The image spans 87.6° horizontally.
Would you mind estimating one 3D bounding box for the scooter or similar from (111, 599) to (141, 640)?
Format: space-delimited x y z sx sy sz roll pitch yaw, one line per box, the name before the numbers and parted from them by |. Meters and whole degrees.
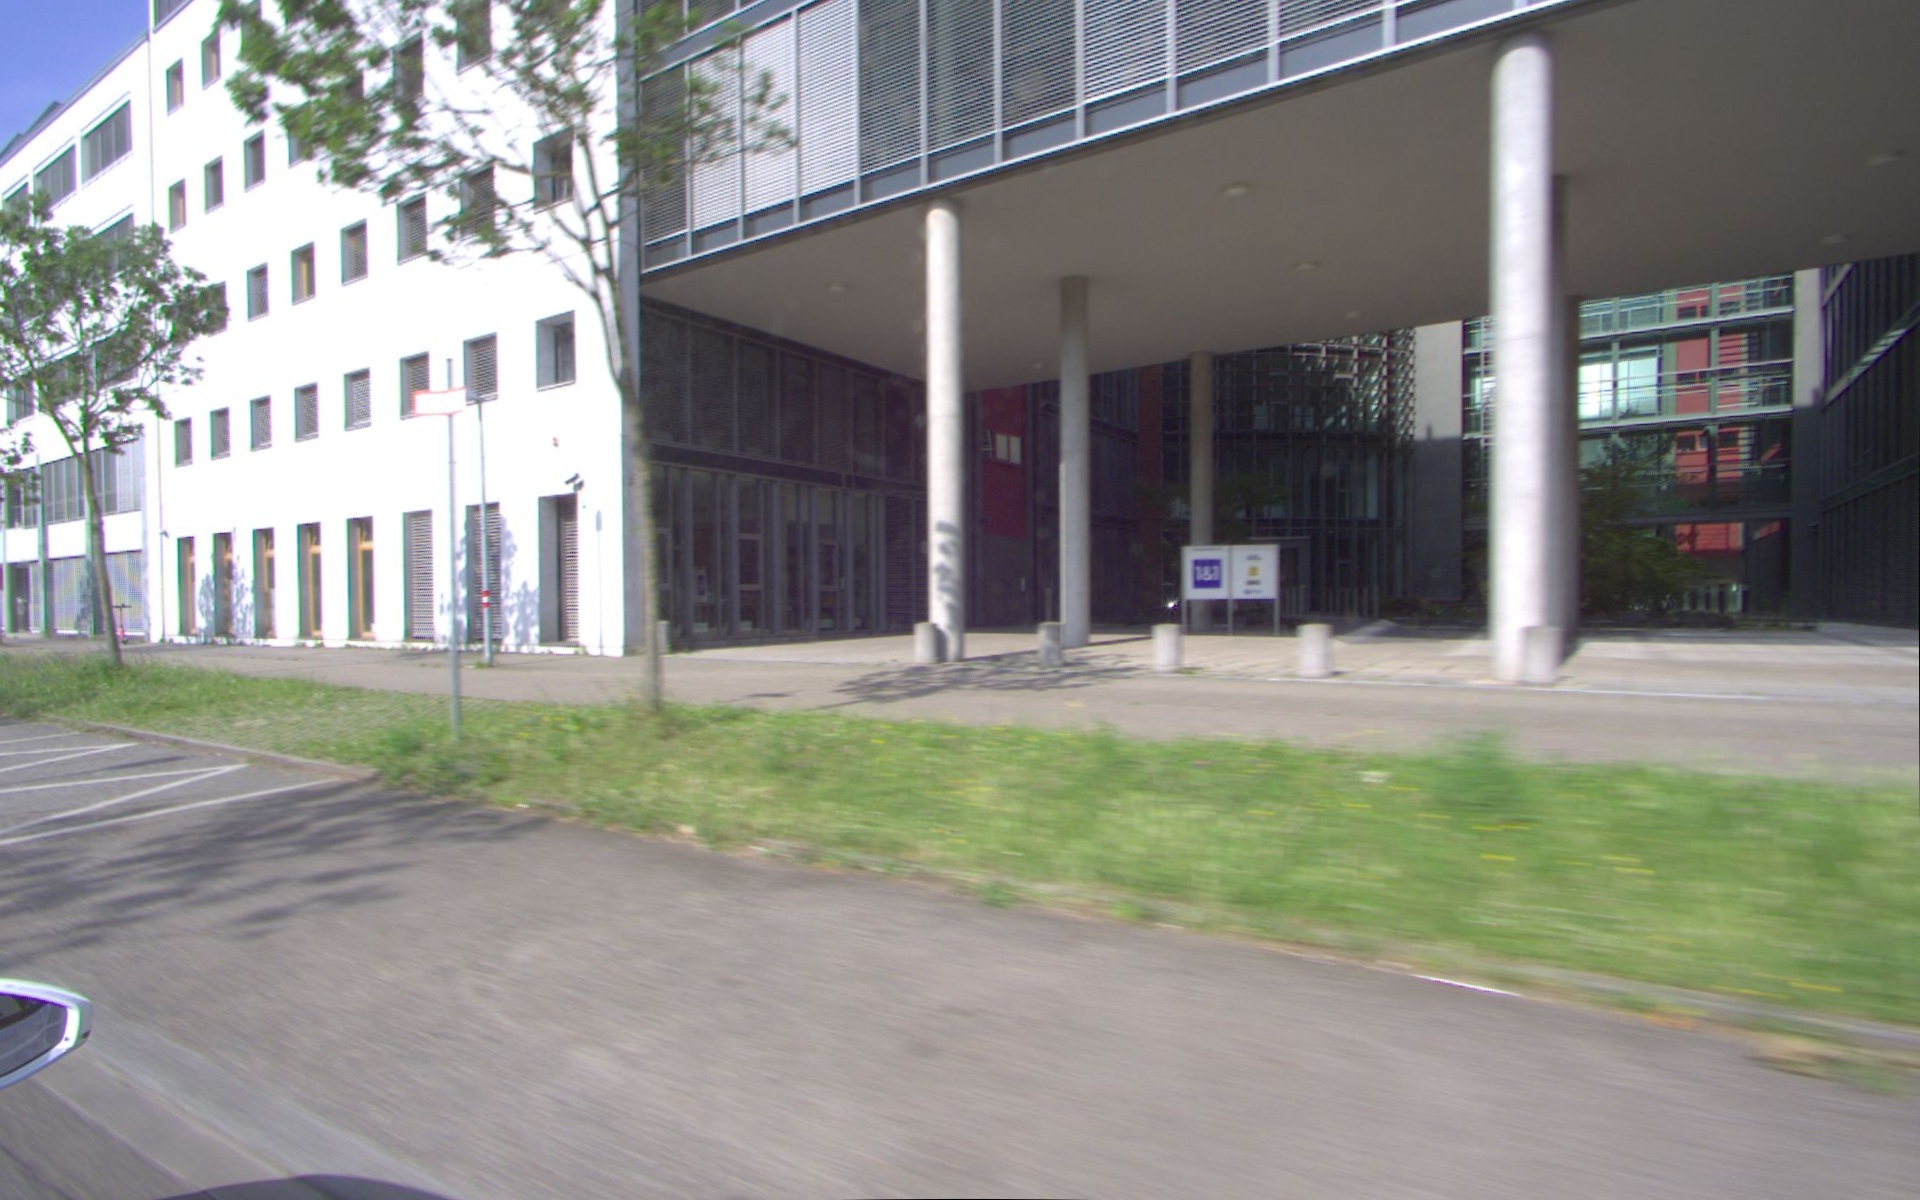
scooter or similar | -25.972 0.592 31.174 1.239 1.230 0.460 1 2 40
